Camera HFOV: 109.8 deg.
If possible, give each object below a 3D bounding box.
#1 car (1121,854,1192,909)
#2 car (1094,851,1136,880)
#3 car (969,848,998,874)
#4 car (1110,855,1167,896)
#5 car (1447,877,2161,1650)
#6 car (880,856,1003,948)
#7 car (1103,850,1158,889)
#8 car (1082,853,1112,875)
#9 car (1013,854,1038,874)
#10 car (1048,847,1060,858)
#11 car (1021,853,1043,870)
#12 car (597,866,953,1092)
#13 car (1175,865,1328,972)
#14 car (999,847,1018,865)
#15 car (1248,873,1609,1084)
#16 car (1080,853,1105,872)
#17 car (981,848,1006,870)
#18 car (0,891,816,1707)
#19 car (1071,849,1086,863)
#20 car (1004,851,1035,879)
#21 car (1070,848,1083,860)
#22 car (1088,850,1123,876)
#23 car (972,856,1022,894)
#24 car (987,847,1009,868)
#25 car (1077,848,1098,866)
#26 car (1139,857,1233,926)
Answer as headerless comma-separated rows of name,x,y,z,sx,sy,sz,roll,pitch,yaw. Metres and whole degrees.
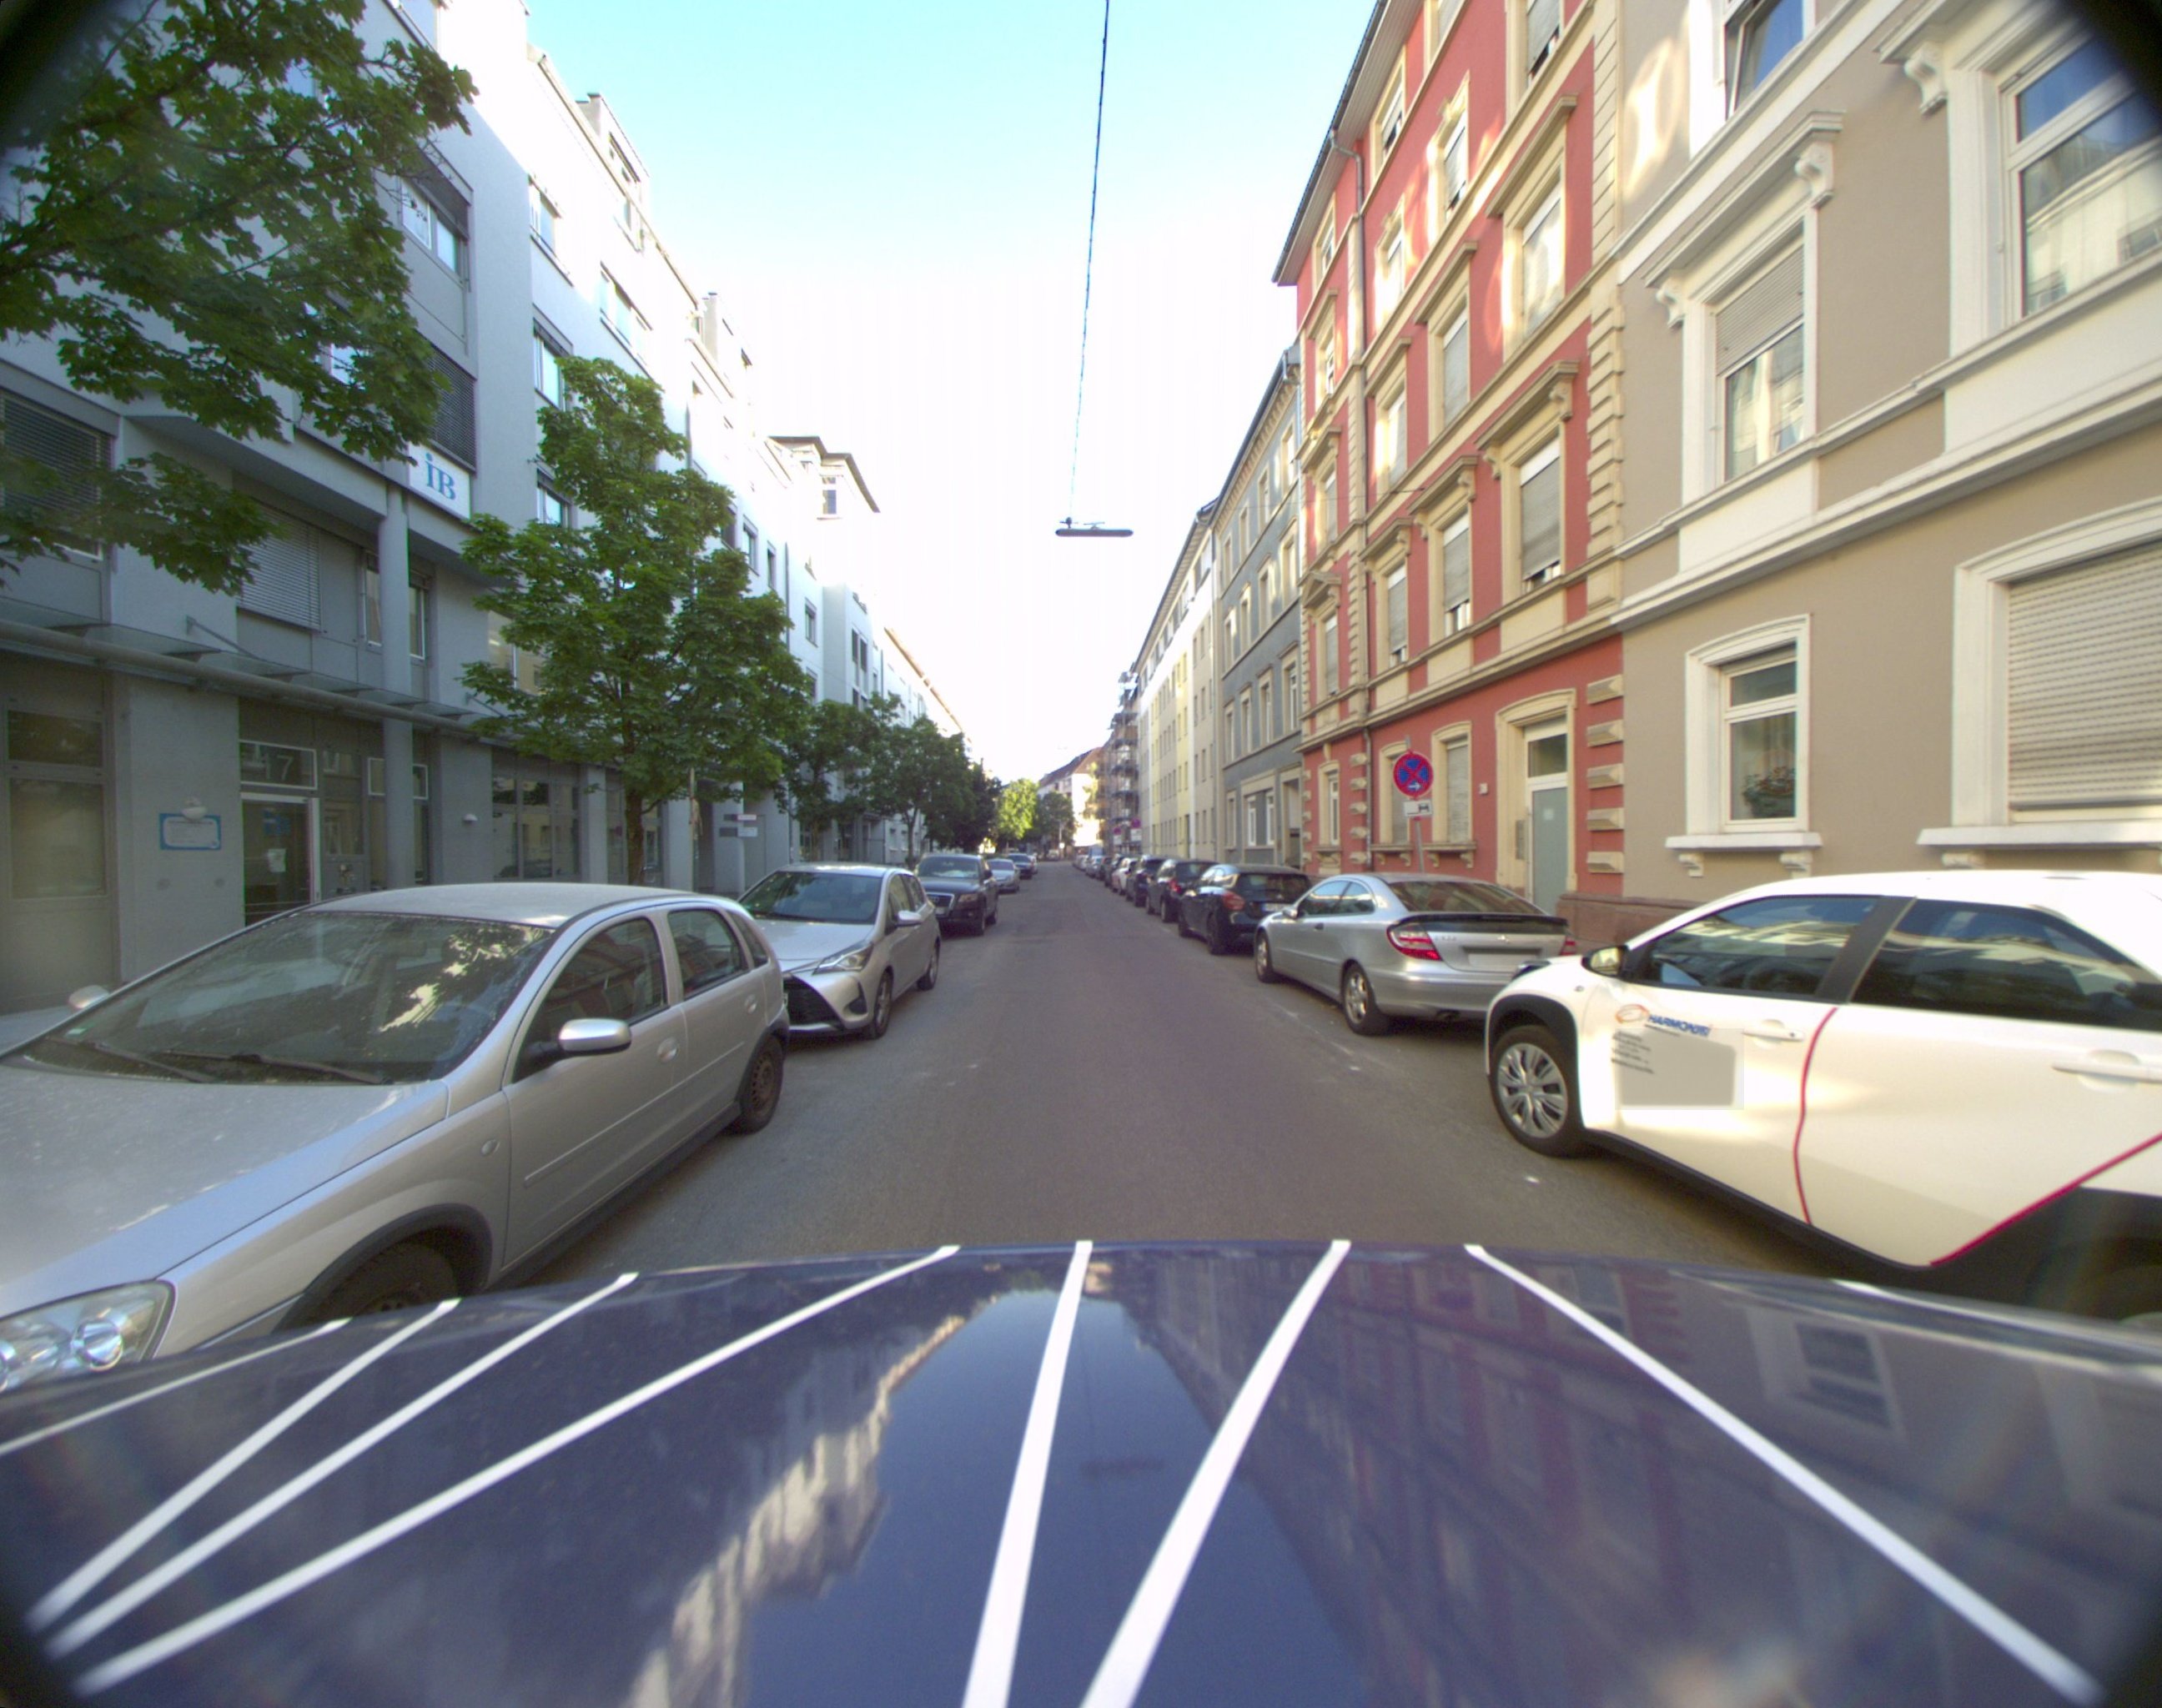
car,2.301,0.801,24.217,1.598,1.513,4.428,-1,1,-3
car,1.978,0.618,45.185,1.999,1.576,4.492,-1,1,-3
car,-7.901,0.527,61.914,1.999,2.002,3.998,-1,0,-3
car,2.194,0.803,30.150,1.662,1.420,4.351,-1,1,-4
car,3.119,0.939,2.707,1.688,1.487,3.843,3,1,0
car,-2.880,0.915,16.653,1.863,1.679,4.389,-1,0,0
car,2.202,0.649,35.267,1.999,1.640,4.492,-1,1,-3
car,1.113,0.712,55.152,1.999,1.437,3.999,-1,0,-2
car,-4.452,0.803,61.814,1.903,1.510,4.222,-1,0,-3
car,-4.735,-0.289,132.563,1.999,1.783,3.999,-1,0,-2
car,-4.468,0.669,69.571,1.856,1.480,3.998,-1,0,-3
car,-2.642,0.978,7.723,1.913,1.576,4.000,-1,0,1
car,2.743,0.978,13.088,1.589,1.407,3.911,3,0,-2
car,-8.410,0.193,88.620,1.999,2.002,3.998,-1,0,-3
car,3.046,0.993,7.670,1.614,1.420,3.960,2,1,-3
car,1.019,0.752,70.034,1.999,1.576,4.492,-1,1,-3
car,-8.179,0.430,71.340,1.999,2.002,3.998,-1,0,-3
car,-2.672,1.006,3.171,1.638,1.439,4.066,-1,0,1
car,-0.357,0.210,102.563,1.999,1.783,3.999,-1,0,-2
car,-3.977,0.679,49.362,1.856,1.649,3.998,-1,0,-4
car,-0.776,0.010,121.258,1.999,1.783,3.999,-1,0,-2
car,1.557,0.578,49.872,1.999,1.566,4.148,-1,0,-2
car,-3.571,0.867,32.886,1.856,1.480,3.998,-1,0,-3
car,-8.253,0.333,75.897,1.999,2.002,3.998,-1,0,-3
car,0.659,0.325,80.271,1.999,1.783,3.999,-1,0,-2
car,2.521,0.854,19.212,1.537,1.490,4.194,1,1,-3
